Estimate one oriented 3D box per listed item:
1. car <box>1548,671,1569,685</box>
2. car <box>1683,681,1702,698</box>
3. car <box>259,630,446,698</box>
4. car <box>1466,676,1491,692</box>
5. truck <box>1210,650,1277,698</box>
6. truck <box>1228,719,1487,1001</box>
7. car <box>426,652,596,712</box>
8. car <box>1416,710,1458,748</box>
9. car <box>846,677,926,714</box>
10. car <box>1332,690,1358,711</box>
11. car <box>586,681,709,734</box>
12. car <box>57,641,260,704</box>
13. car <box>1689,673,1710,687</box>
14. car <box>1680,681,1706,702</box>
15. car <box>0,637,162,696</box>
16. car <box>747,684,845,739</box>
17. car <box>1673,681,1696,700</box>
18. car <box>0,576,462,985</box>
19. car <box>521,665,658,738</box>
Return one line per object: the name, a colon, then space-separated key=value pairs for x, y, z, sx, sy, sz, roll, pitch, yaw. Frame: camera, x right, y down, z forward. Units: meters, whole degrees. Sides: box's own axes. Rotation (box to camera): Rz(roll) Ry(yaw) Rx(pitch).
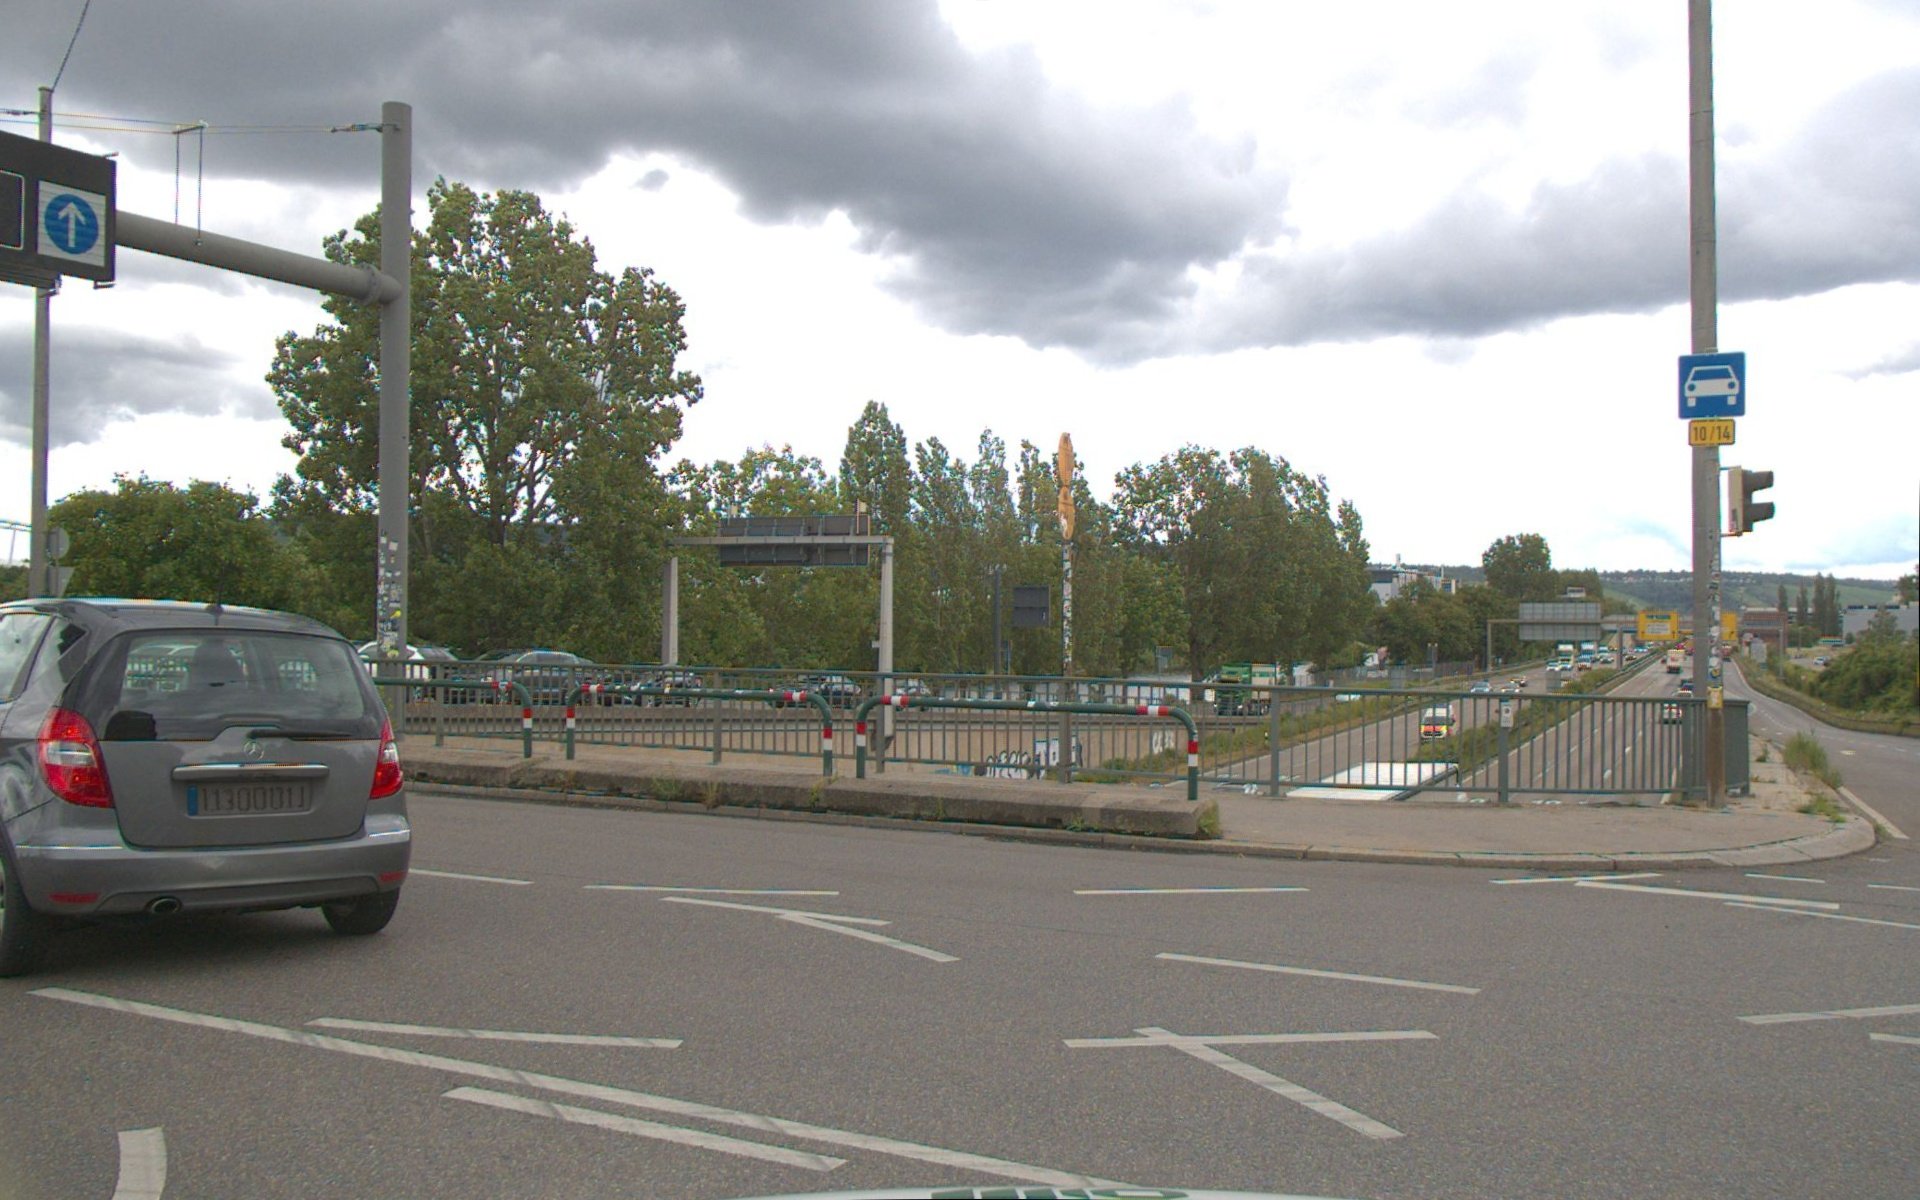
car: x=71.452 y=9.324 z=197.572 sx=1.954 sy=1.737 sz=4.075 roll=-1 pitch=-3 yaw=25
car: x=87.292 y=10.643 z=197.061 sx=1.953 sy=2.049 sz=3.998 roll=-1 pitch=-3 yaw=23
car: x=-15.578 y=1.692 z=42.638 sx=1.955 sy=1.648 sz=4.337 roll=-2 pitch=-4 yaw=27
car: x=55.534 y=8.991 z=177.149 sx=1.954 sy=1.737 sz=4.075 roll=-1 pitch=-3 yaw=25
truck: x=22.778 y=5.836 z=132.365 sx=2.719 sy=3.571 sz=9.247 roll=0 pitch=-1 yaw=27
truck: x=10.301 y=5.916 z=41.189 sx=3.507 sy=4.564 sz=13.169 roll=0 pitch=2 yaw=26
car: x=-12.949 y=2.409 z=48.093 sx=1.955 sy=1.648 sz=4.956 roll=-2 pitch=-4 yaw=27
car: x=31.663 y=8.532 z=109.668 sx=1.954 sy=2.412 sz=4.585 roll=-2 pitch=-3 yaw=25
car: x=-3.350 y=4.367 z=75.414 sx=1.954 sy=1.647 sz=3.995 roll=-2 pitch=-4 yaw=26
car: x=38.123 y=9.926 z=163.610 sx=1.953 sy=1.698 sz=3.770 roll=0 pitch=1 yaw=23
car: x=-10.189 y=3.509 z=54.157 sx=1.954 sy=1.647 sz=3.995 roll=-2 pitch=-4 yaw=26
car: x=-17.877 y=1.653 z=37.050 sx=1.750 sy=1.336 sz=3.759 roll=-2 pitch=-4 yaw=27
car: x=99.892 y=10.834 z=223.372 sx=2.479 sy=1.935 sz=4.880 roll=-1 pitch=-3 yaw=23
car: x=62.341 y=7.794 z=140.677 sx=1.953 sy=1.767 sz=3.995 roll=-1 pitch=-3 yaw=23
car: x=-22.929 y=1.751 z=42.606 sx=1.657 sy=1.446 sz=4.149 roll=-1 pitch=-4 yaw=25
car: x=-6.235 y=4.213 z=63.269 sx=1.954 sy=1.646 sz=3.998 roll=0 pitch=2 yaw=25
car: x=69.255 y=8.672 z=158.131 sx=1.953 sy=1.767 sz=3.995 roll=-1 pitch=-3 yaw=23
car: x=-4.278 y=0.758 z=8.373 sx=3.806 sy=1.578 sz=1.738 roll=-1 pitch=-3 yaw=45
car: x=-12.483 y=3.386 z=56.045 sx=2.163 sy=2.048 sz=4.541 roll=0 pitch=2 yaw=26
